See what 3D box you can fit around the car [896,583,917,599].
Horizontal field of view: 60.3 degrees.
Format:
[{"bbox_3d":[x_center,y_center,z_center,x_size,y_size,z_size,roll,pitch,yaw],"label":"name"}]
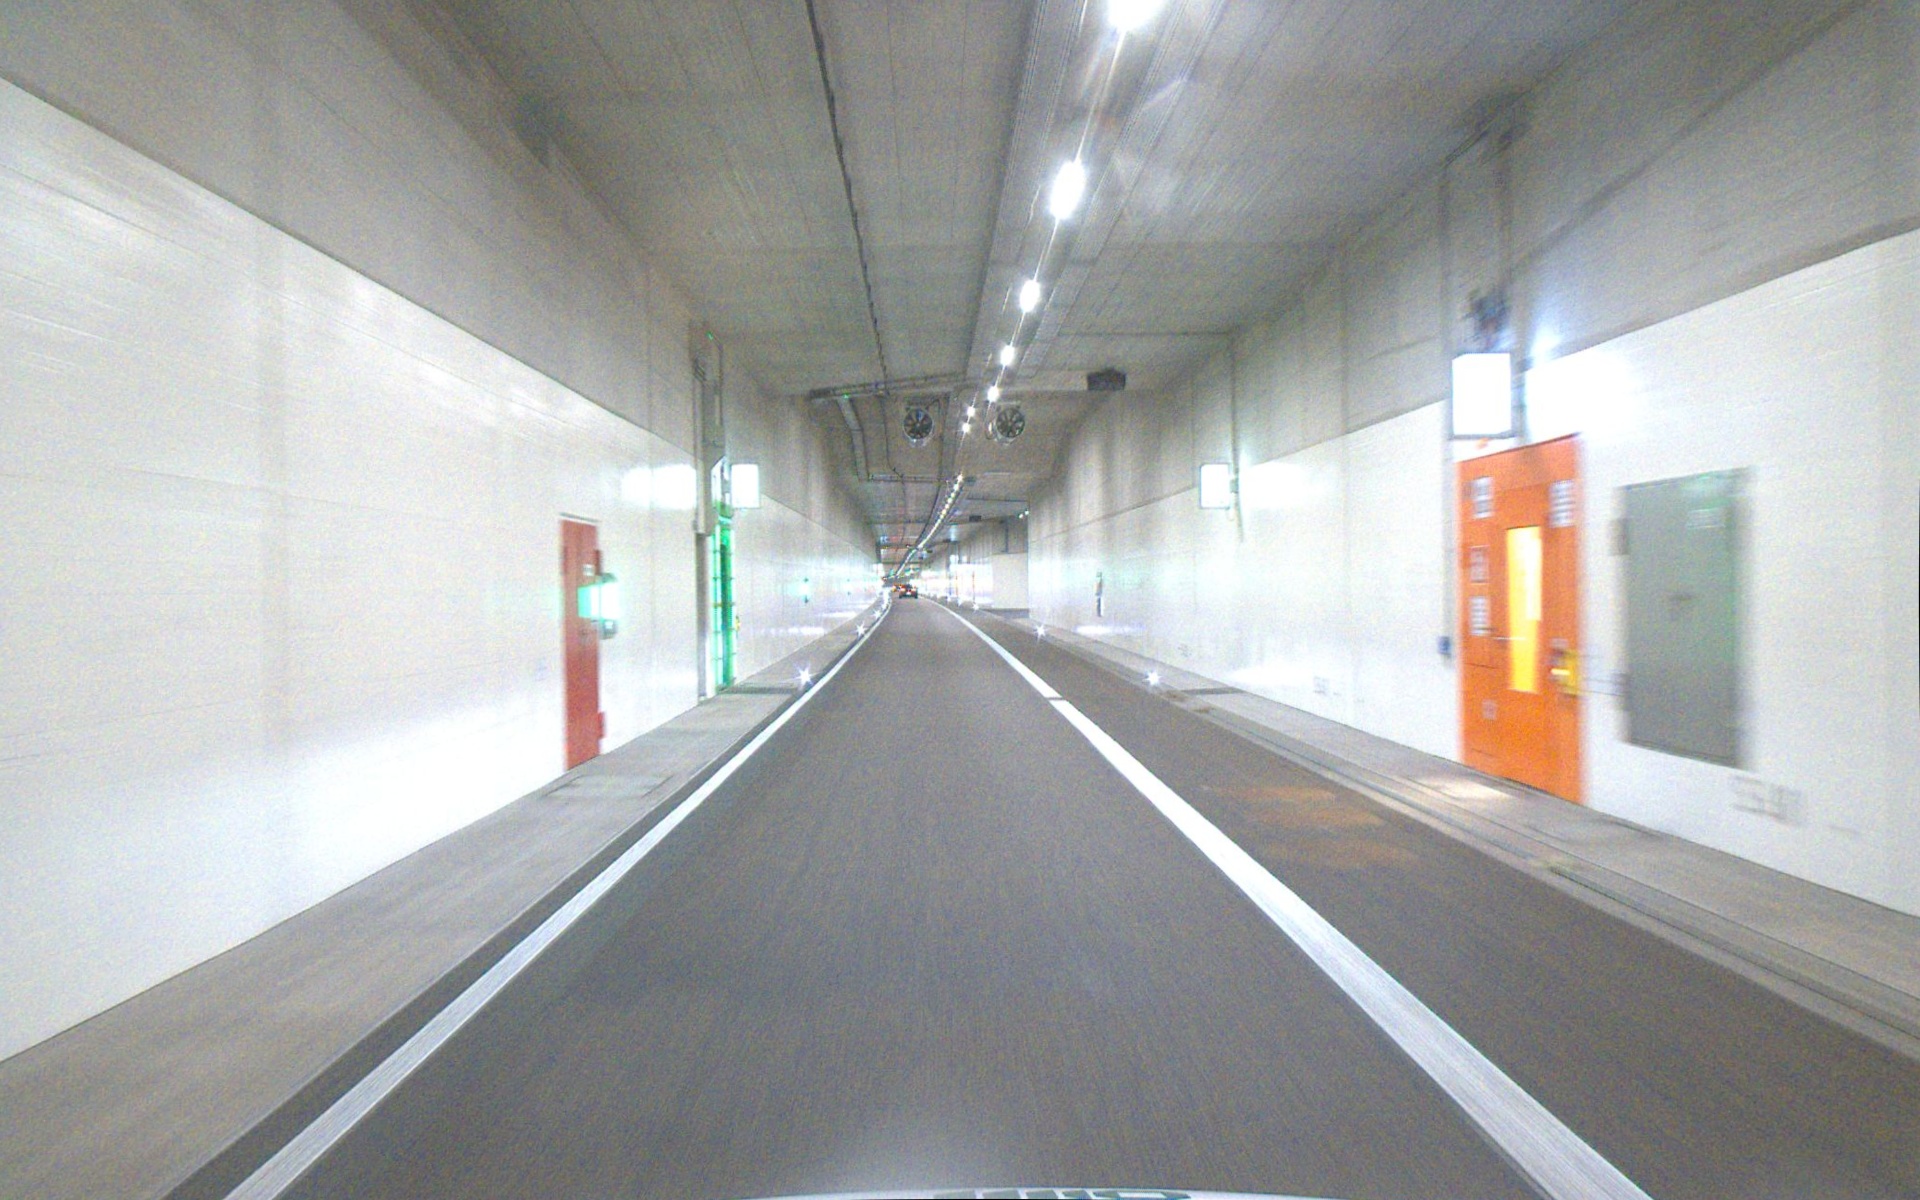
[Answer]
[{"bbox_3d":[-5.169,-0.874,160.530,1.954,1.445,3.998,1,0,-3],"label":"car"}]
